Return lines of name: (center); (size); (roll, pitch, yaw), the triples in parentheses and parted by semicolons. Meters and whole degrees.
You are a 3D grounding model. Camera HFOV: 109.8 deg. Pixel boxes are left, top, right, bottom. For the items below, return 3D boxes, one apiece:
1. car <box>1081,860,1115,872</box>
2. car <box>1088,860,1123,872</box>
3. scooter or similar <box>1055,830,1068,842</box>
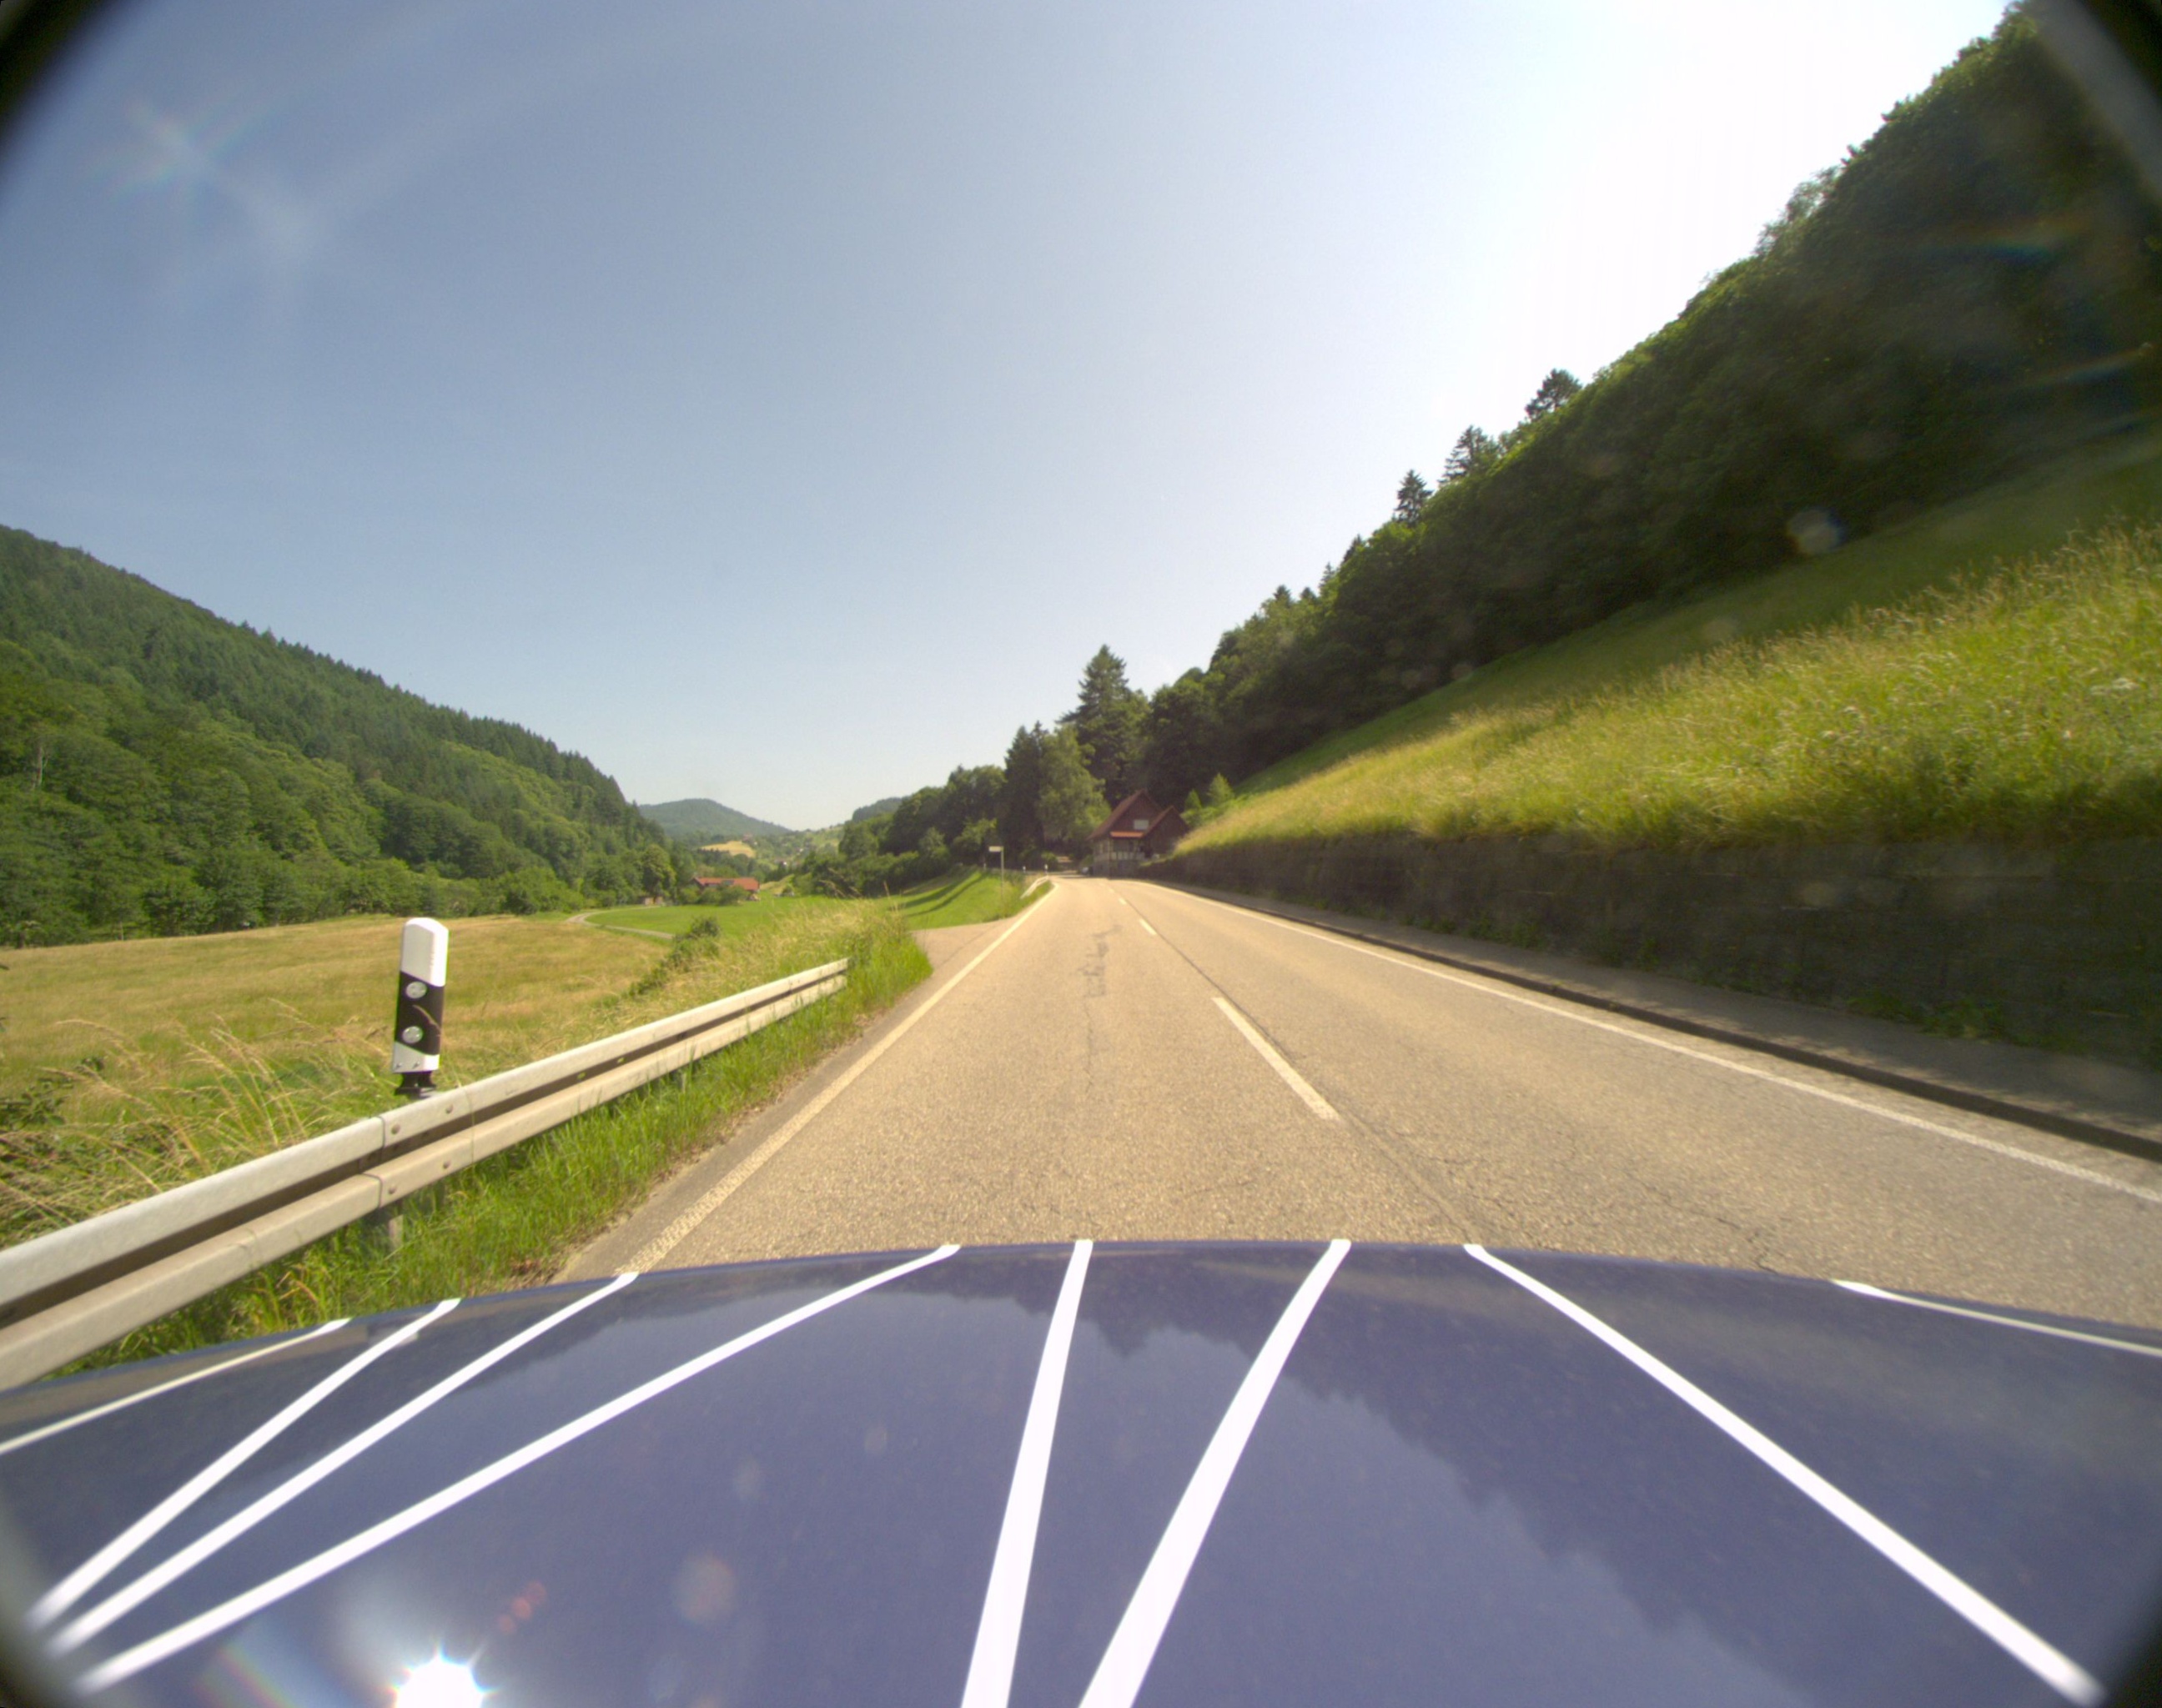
car: (2.058, 1.444, 92.047); (3.830, 1.408, 1.855); (-1, -1, -14)
car: (2.867, 1.417, 89.962); (3.830, 1.424, 1.861); (1, 1, -14)
scooter or similar: (-3.773, -3.467, 146.788); (1.984, 2.015, 4.402); (-5, 1, -7)
